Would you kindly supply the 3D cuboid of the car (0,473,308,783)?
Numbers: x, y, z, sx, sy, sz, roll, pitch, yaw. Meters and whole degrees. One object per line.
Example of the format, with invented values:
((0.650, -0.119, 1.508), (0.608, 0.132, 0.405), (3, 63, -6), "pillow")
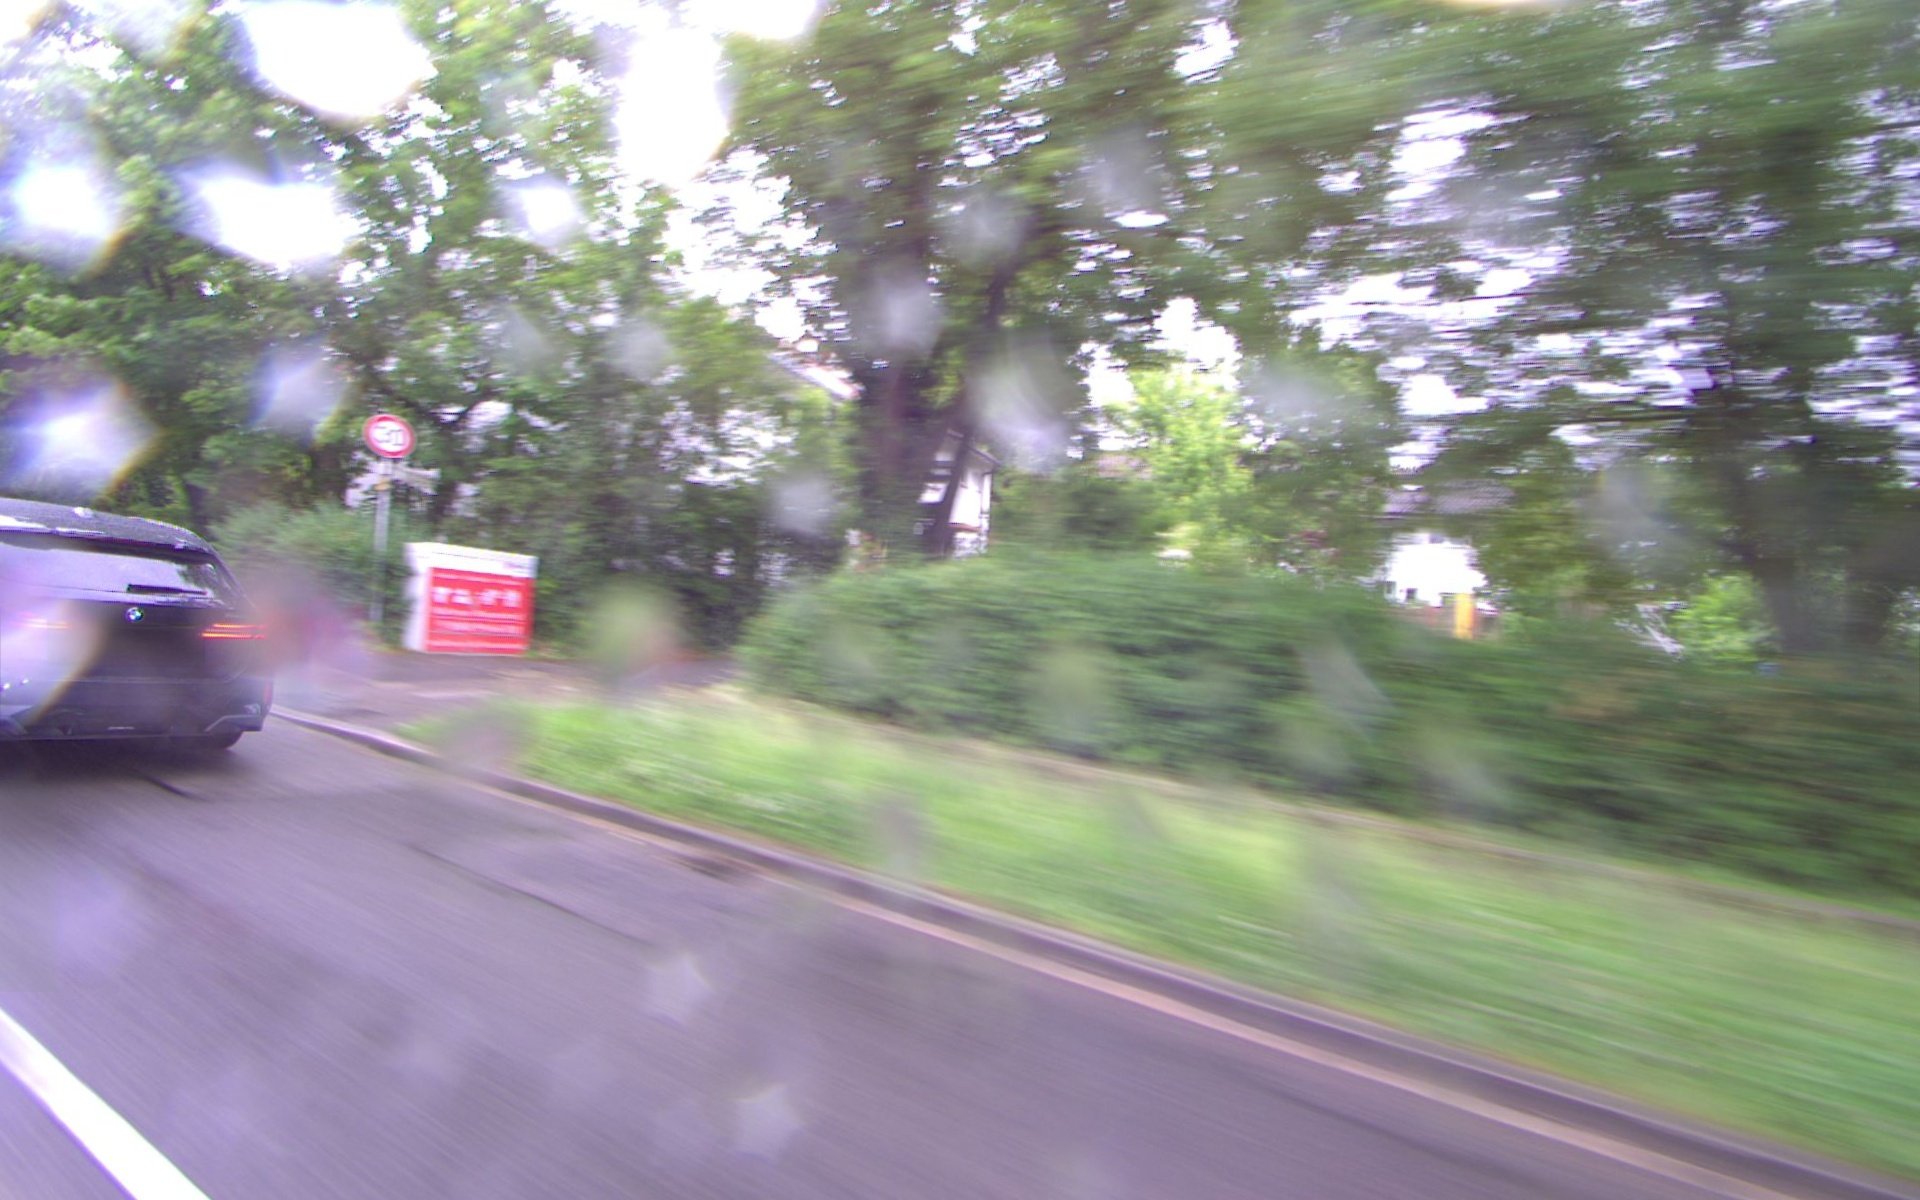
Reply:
((-6.103, 0.052, 6.431), (3.613, 1.554, 1.768), (6, -2, 32), "car")
